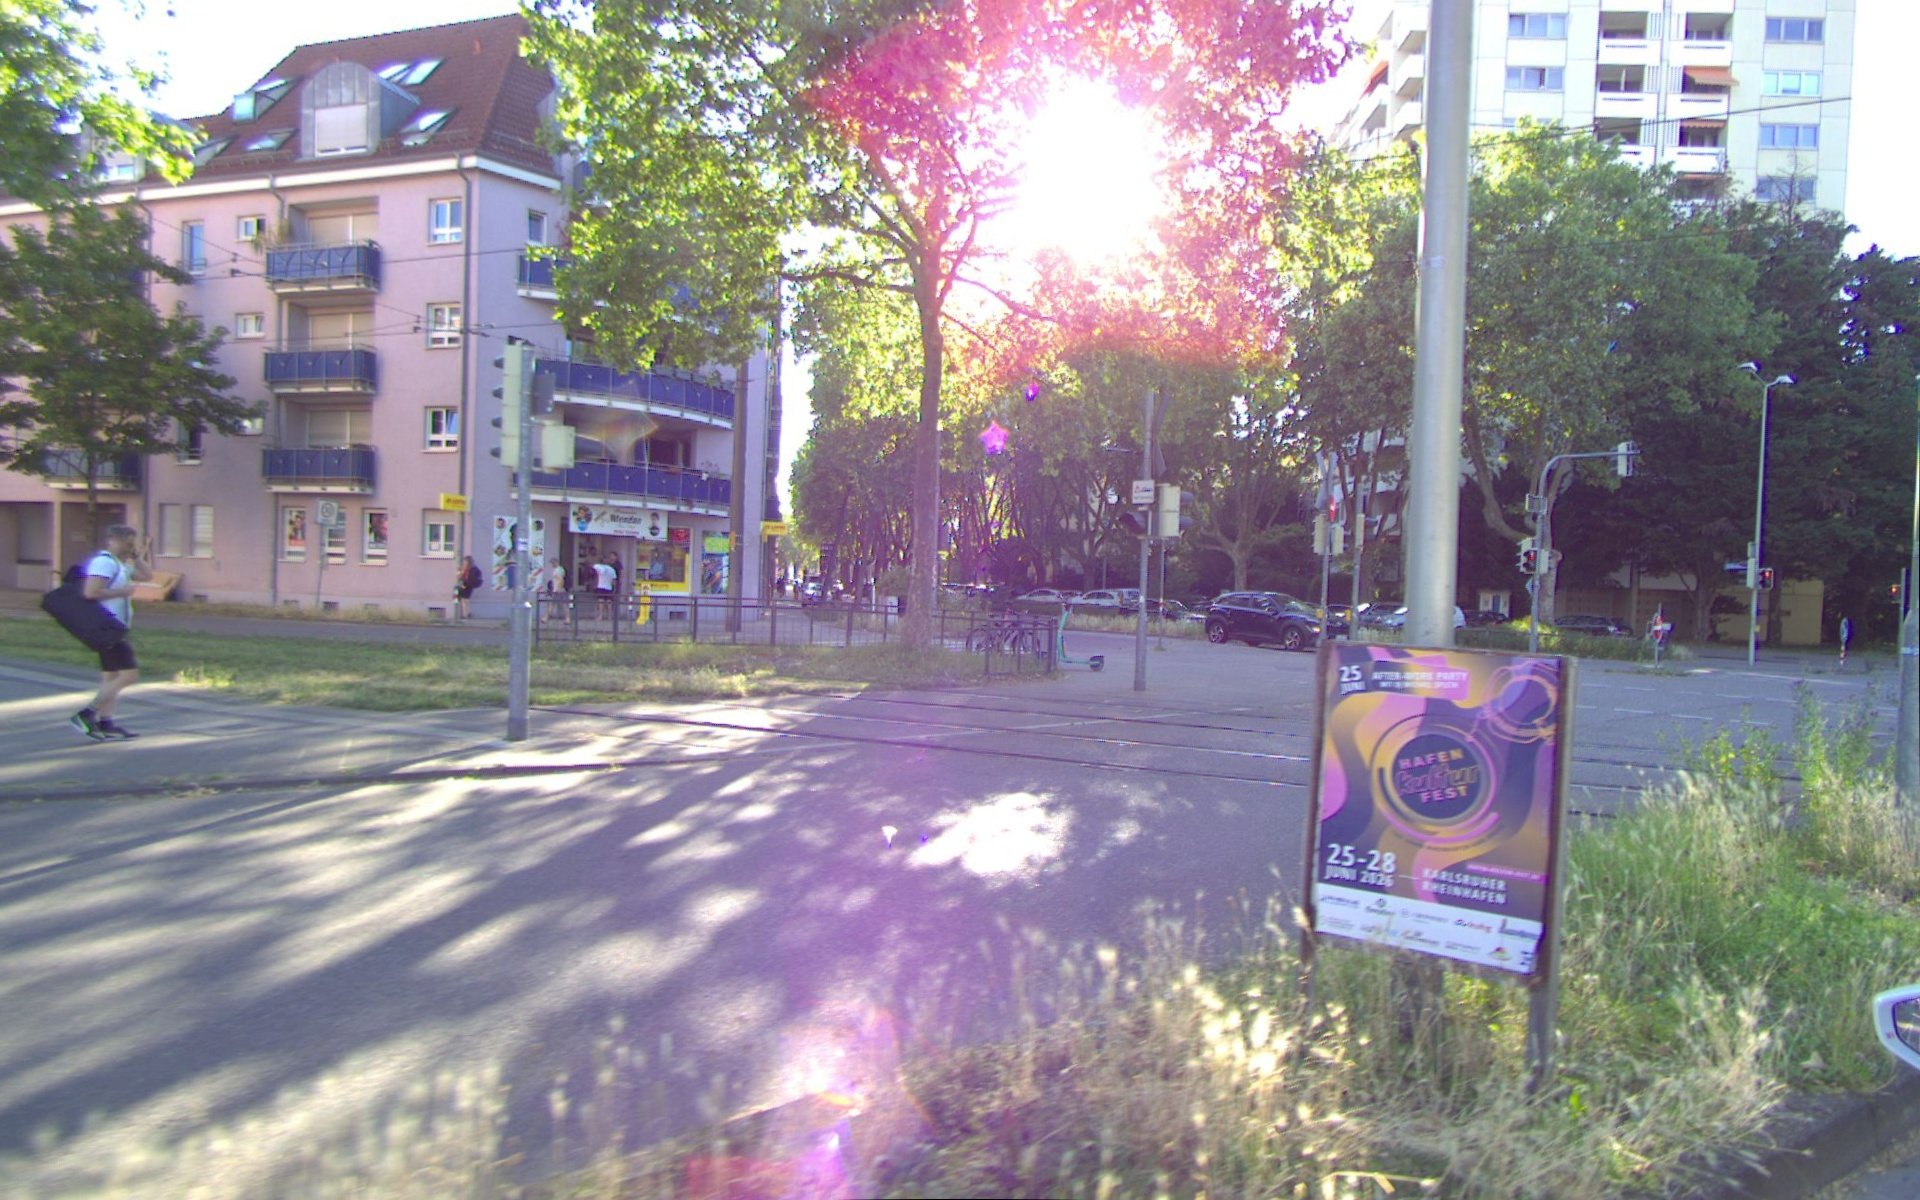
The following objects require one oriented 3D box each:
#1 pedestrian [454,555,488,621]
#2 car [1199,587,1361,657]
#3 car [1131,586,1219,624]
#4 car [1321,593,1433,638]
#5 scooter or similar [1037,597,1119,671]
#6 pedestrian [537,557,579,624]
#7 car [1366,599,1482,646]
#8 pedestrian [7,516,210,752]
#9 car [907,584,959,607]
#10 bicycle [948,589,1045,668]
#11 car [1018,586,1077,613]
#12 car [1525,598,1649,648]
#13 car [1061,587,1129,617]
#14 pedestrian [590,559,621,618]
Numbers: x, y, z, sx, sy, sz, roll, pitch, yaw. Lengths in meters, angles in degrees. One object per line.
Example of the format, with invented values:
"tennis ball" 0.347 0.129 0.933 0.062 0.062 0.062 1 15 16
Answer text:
"pedestrian" -12.953 -0.317 26.620 0.609 1.689 0.550 3 1 -11
"car" 8.713 0.569 27.653 1.721 1.617 3.960 2 1 -35
"car" 10.633 0.240 49.869 3.921 1.617 1.738 3 1 1
"car" 17.442 0.637 42.122 3.921 1.617 1.738 3 1 1
"scooter or similar" 2.178 0.610 18.520 1.412 1.255 0.414 3 1 10
"pedestrian" -10.482 -0.255 26.213 0.607 1.689 0.926 3 1 5
"car" 18.445 0.880 40.060 3.732 1.617 1.738 3 1 1
"pedestrian" -6.920 0.245 8.175 0.889 1.760 1.083 4 2 39
"car" -2.185 -0.369 82.749 3.919 1.617 1.739 3 1 10
"bicycle" 0.653 0.509 18.584 1.811 1.324 0.382 4 2 35
"car" 6.103 -0.033 70.156 3.921 1.617 1.738 3 1 1
"car" 26.219 0.914 42.161 1.971 1.798 3.979 3 1 -21
"car" 8.306 0.122 62.208 3.921 1.617 1.738 3 1 1
"pedestrian" -10.308 -0.328 29.212 0.610 1.689 0.549 4 2 39
